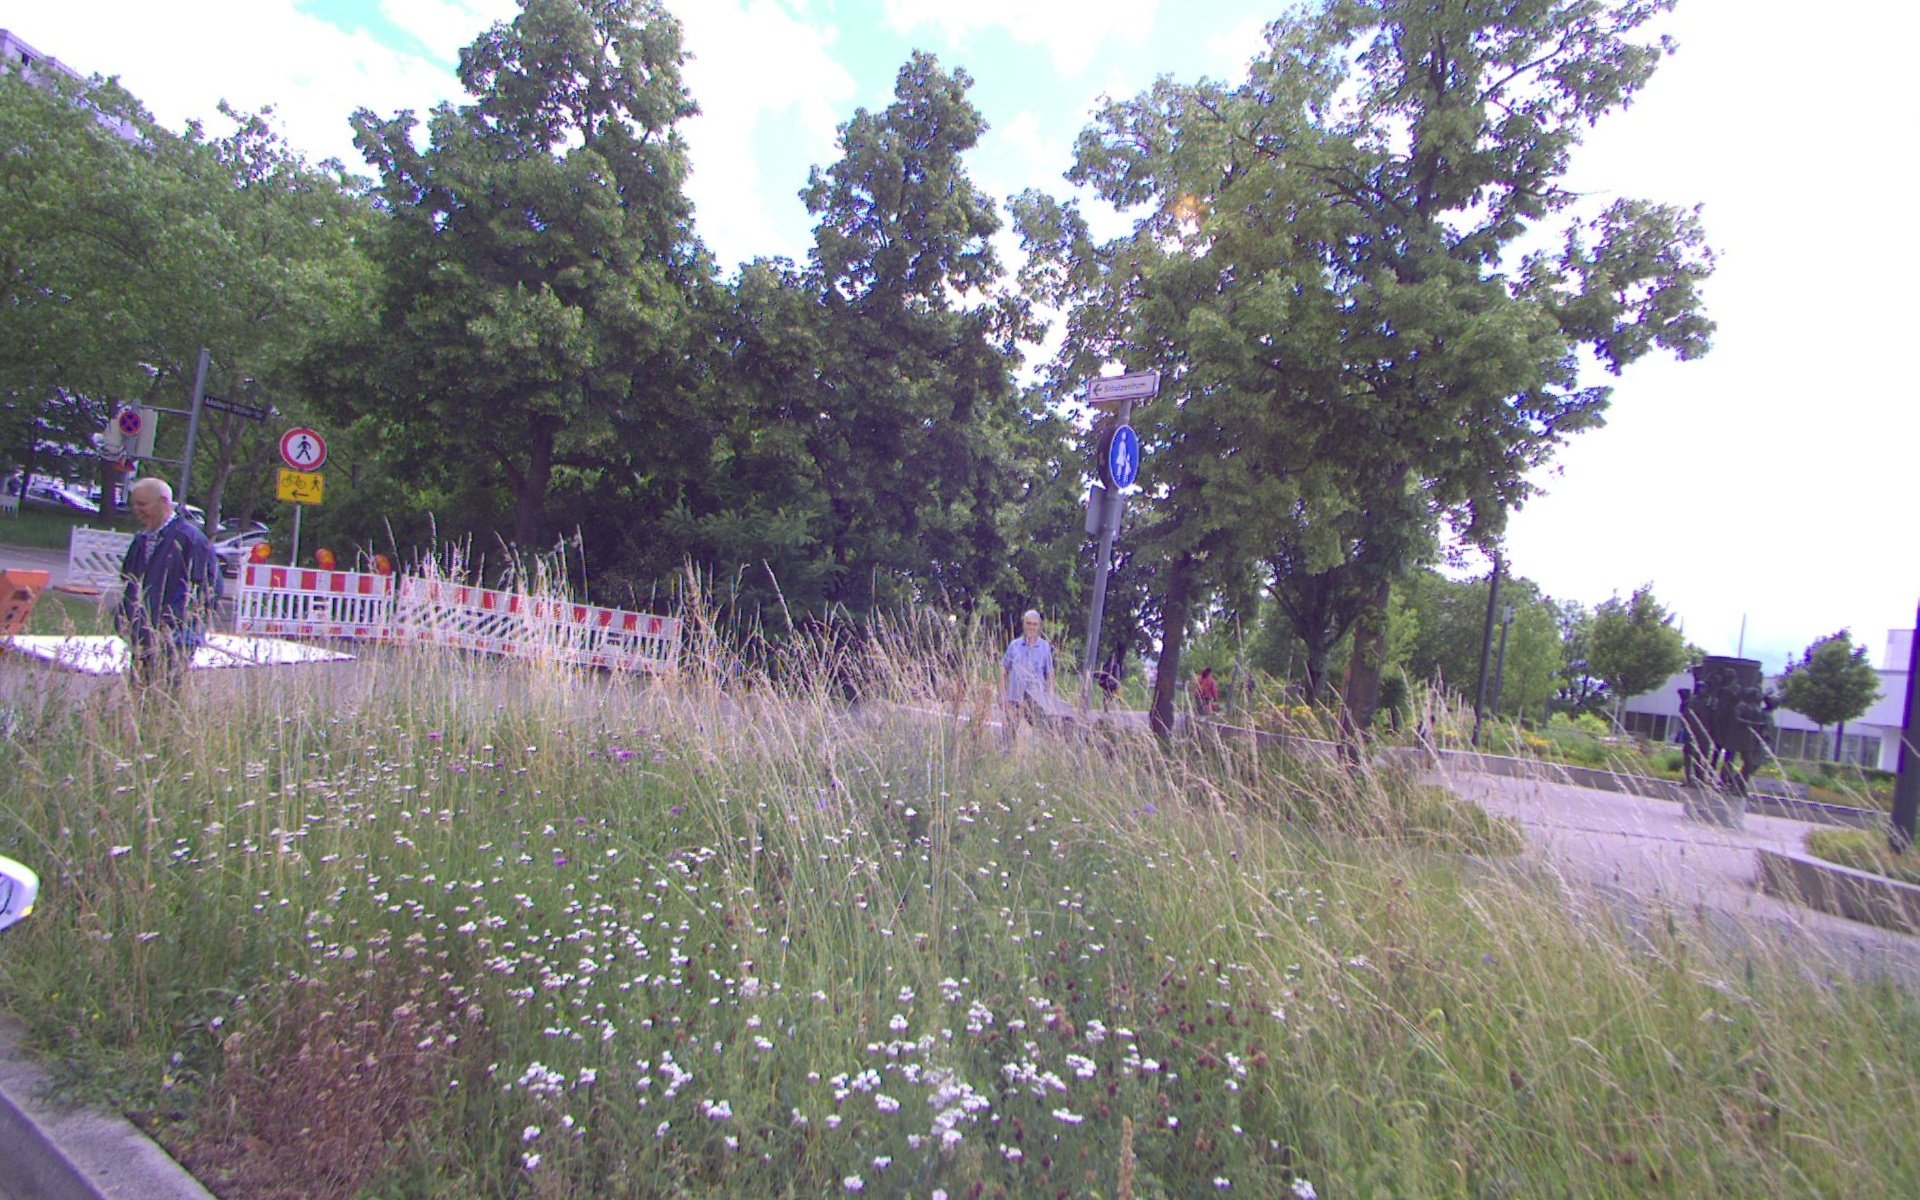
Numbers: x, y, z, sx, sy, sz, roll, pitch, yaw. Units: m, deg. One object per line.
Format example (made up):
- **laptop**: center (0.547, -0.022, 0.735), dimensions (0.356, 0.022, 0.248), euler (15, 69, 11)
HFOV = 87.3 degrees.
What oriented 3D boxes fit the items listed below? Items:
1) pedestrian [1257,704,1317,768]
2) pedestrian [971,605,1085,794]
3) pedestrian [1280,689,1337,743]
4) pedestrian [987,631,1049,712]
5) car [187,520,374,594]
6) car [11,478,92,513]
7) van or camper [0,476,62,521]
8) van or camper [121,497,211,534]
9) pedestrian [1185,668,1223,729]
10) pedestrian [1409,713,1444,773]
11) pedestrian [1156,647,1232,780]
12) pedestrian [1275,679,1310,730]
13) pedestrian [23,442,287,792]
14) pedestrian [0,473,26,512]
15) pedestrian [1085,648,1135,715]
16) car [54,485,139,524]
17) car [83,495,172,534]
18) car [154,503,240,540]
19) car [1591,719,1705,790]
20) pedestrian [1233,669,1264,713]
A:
- **pedestrian**: center (5.123, 2.117, 15.738), dimensions (0.685, 0.874, 0.651), euler (7, 0, 28)
- **pedestrian**: center (0.713, 1.022, 10.473), dimensions (0.716, 1.812, 0.692), euler (8, 0, 31)
- **pedestrian**: center (7.197, 2.393, 20.784), dimensions (0.703, 0.959, 0.747), euler (8, -1, -21)
- **pedestrian**: center (1.309, 1.601, 22.619), dimensions (0.974, 1.671, 0.871), euler (7, 0, 21)
- **car**: center (-21.092, -1.292, 31.416), dimensions (1.744, 1.604, 4.405), euler (6, -2, 33)
- **car**: center (-54.444, -6.251, 60.328), dimensions (3.345, 1.420, 1.486), euler (7, -2, 1)
- **van or camper**: center (-44.311, -4.848, 46.498), dimensions (3.925, 1.704, 1.847), euler (8, -1, 4)
- **van or camper**: center (-44.558, -4.734, 56.492), dimensions (3.706, 1.372, 1.519), euler (8, -2, -1)
- **pedestrian**: center (6.511, 2.616, 26.847), dimensions (0.624, 1.519, 0.704), euler (7, 0, 29)
- **pedestrian**: center (10.757, 3.286, 23.182), dimensions (0.560, 1.277, 0.582), euler (7, -1, 29)
- **pedestrian**: center (3.271, 1.570, 14.042), dimensions (0.685, 1.715, 0.651), euler (7, 0, 28)
- **pedestrian**: center (11.993, 3.745, 36.248), dimensions (0.974, 1.671, 0.871), euler (7, 0, 21)
- **pedestrian**: center (-4.527, 0.099, 5.750), dimensions (0.718, 1.761, 0.952), euler (8, -1, -20)
- **pedestrian**: center (-52.375, -5.930, 55.529), dimensions (0.838, 2.025, 0.806), euler (7, -1, 28)
- **pedestrian**: center (4.121, 2.231, 27.598), dimensions (0.974, 1.671, 0.871), euler (7, 0, 21)
- **car**: center (-54.463, -5.993, 63.461), dimensions (3.751, 1.653, 1.674), euler (9, -1, 1)
- **car**: center (-43.775, -4.496, 52.940), dimensions (3.345, 1.420, 1.486), euler (7, -2, 2)
- **car**: center (-44.638, -4.599, 58.897), dimensions (3.820, 1.482, 1.486), euler (7, -1, 1)
- **car**: center (22.779, 5.076, 33.471), dimensions (1.606, 1.786, 3.509), euler (7, -2, 9)
- **pedestrian**: center (11.962, 3.771, 41.666), dimensions (0.974, 1.671, 0.871), euler (7, 0, 21)
